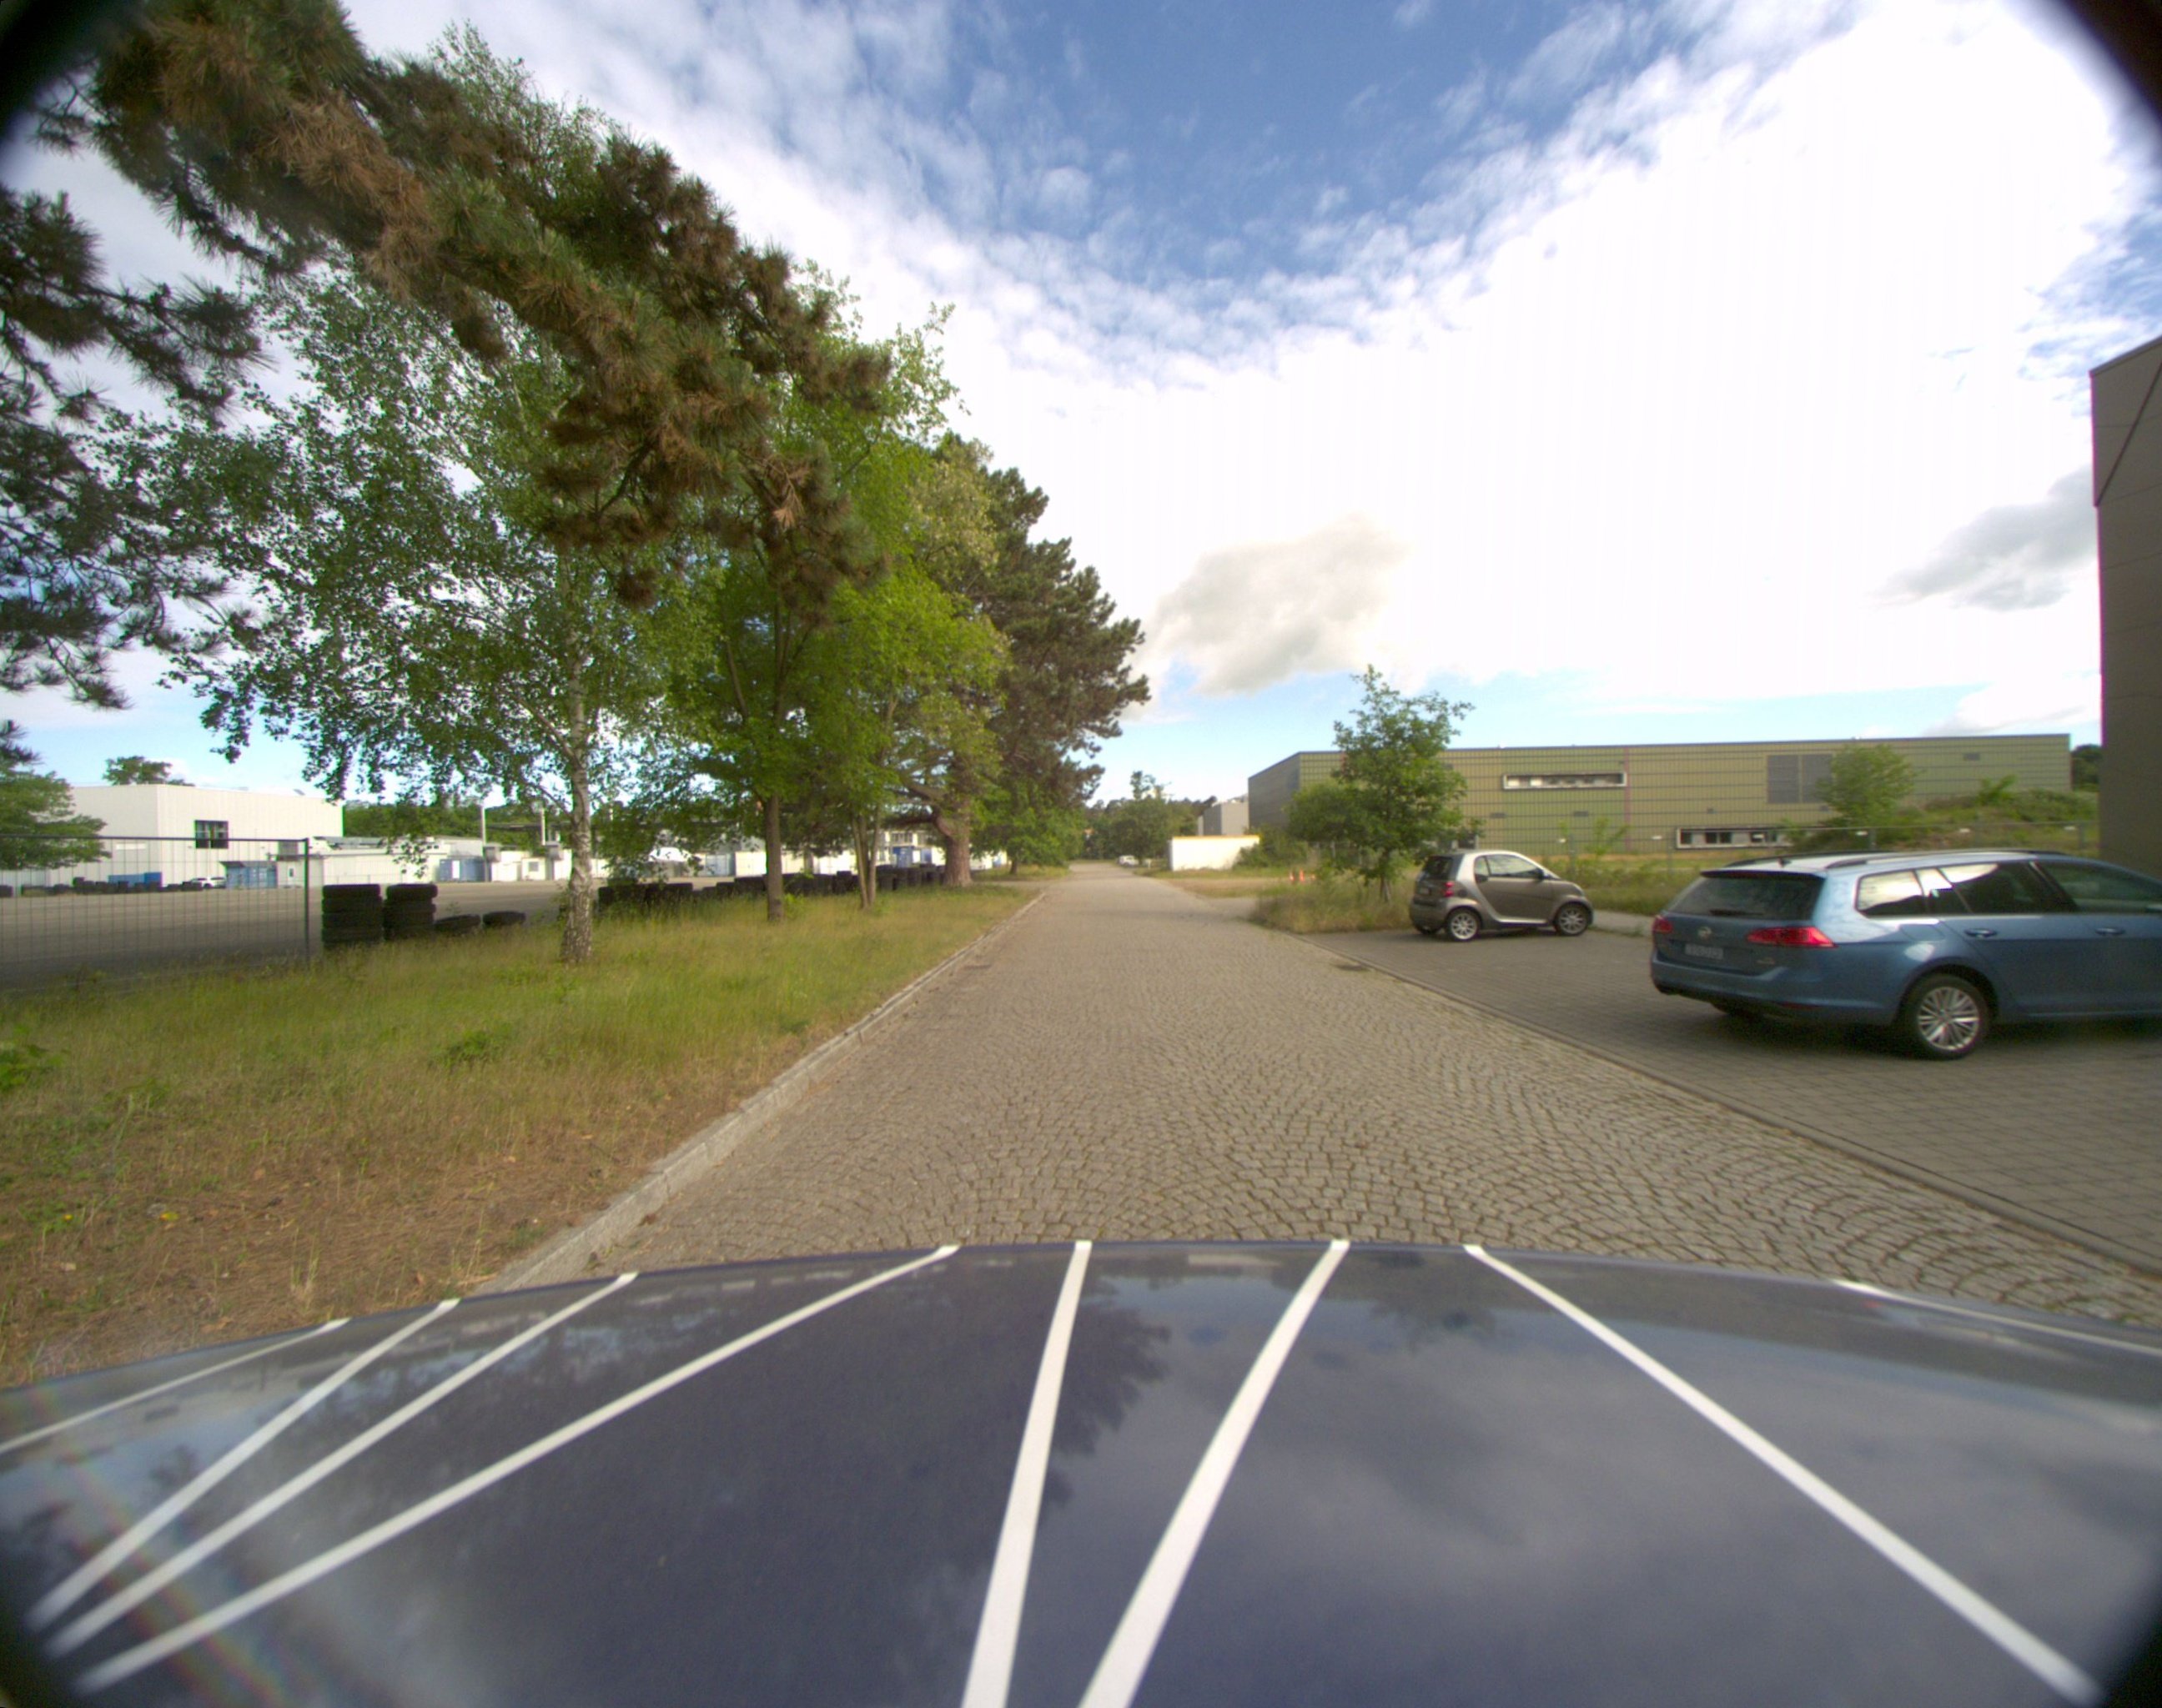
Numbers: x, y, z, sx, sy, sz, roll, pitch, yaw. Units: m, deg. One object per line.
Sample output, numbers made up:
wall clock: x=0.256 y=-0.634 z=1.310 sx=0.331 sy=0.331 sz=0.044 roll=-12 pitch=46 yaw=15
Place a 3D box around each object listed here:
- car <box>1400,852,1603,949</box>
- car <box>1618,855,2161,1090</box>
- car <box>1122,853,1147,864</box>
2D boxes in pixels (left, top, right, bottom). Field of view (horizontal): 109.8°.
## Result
car: x=7.374 y=0.777 z=13.517 sx=2.661 sy=1.502 sz=1.610 roll=-3 pitch=0 yaw=0
car: x=7.152 y=0.820 z=6.191 sx=4.317 sy=1.420 sz=1.773 roll=-3 pitch=0 yaw=-2
car: x=8.467 y=0.750 z=120.743 sx=3.996 sy=1.604 sz=1.797 roll=-1 pitch=0 yaw=4
